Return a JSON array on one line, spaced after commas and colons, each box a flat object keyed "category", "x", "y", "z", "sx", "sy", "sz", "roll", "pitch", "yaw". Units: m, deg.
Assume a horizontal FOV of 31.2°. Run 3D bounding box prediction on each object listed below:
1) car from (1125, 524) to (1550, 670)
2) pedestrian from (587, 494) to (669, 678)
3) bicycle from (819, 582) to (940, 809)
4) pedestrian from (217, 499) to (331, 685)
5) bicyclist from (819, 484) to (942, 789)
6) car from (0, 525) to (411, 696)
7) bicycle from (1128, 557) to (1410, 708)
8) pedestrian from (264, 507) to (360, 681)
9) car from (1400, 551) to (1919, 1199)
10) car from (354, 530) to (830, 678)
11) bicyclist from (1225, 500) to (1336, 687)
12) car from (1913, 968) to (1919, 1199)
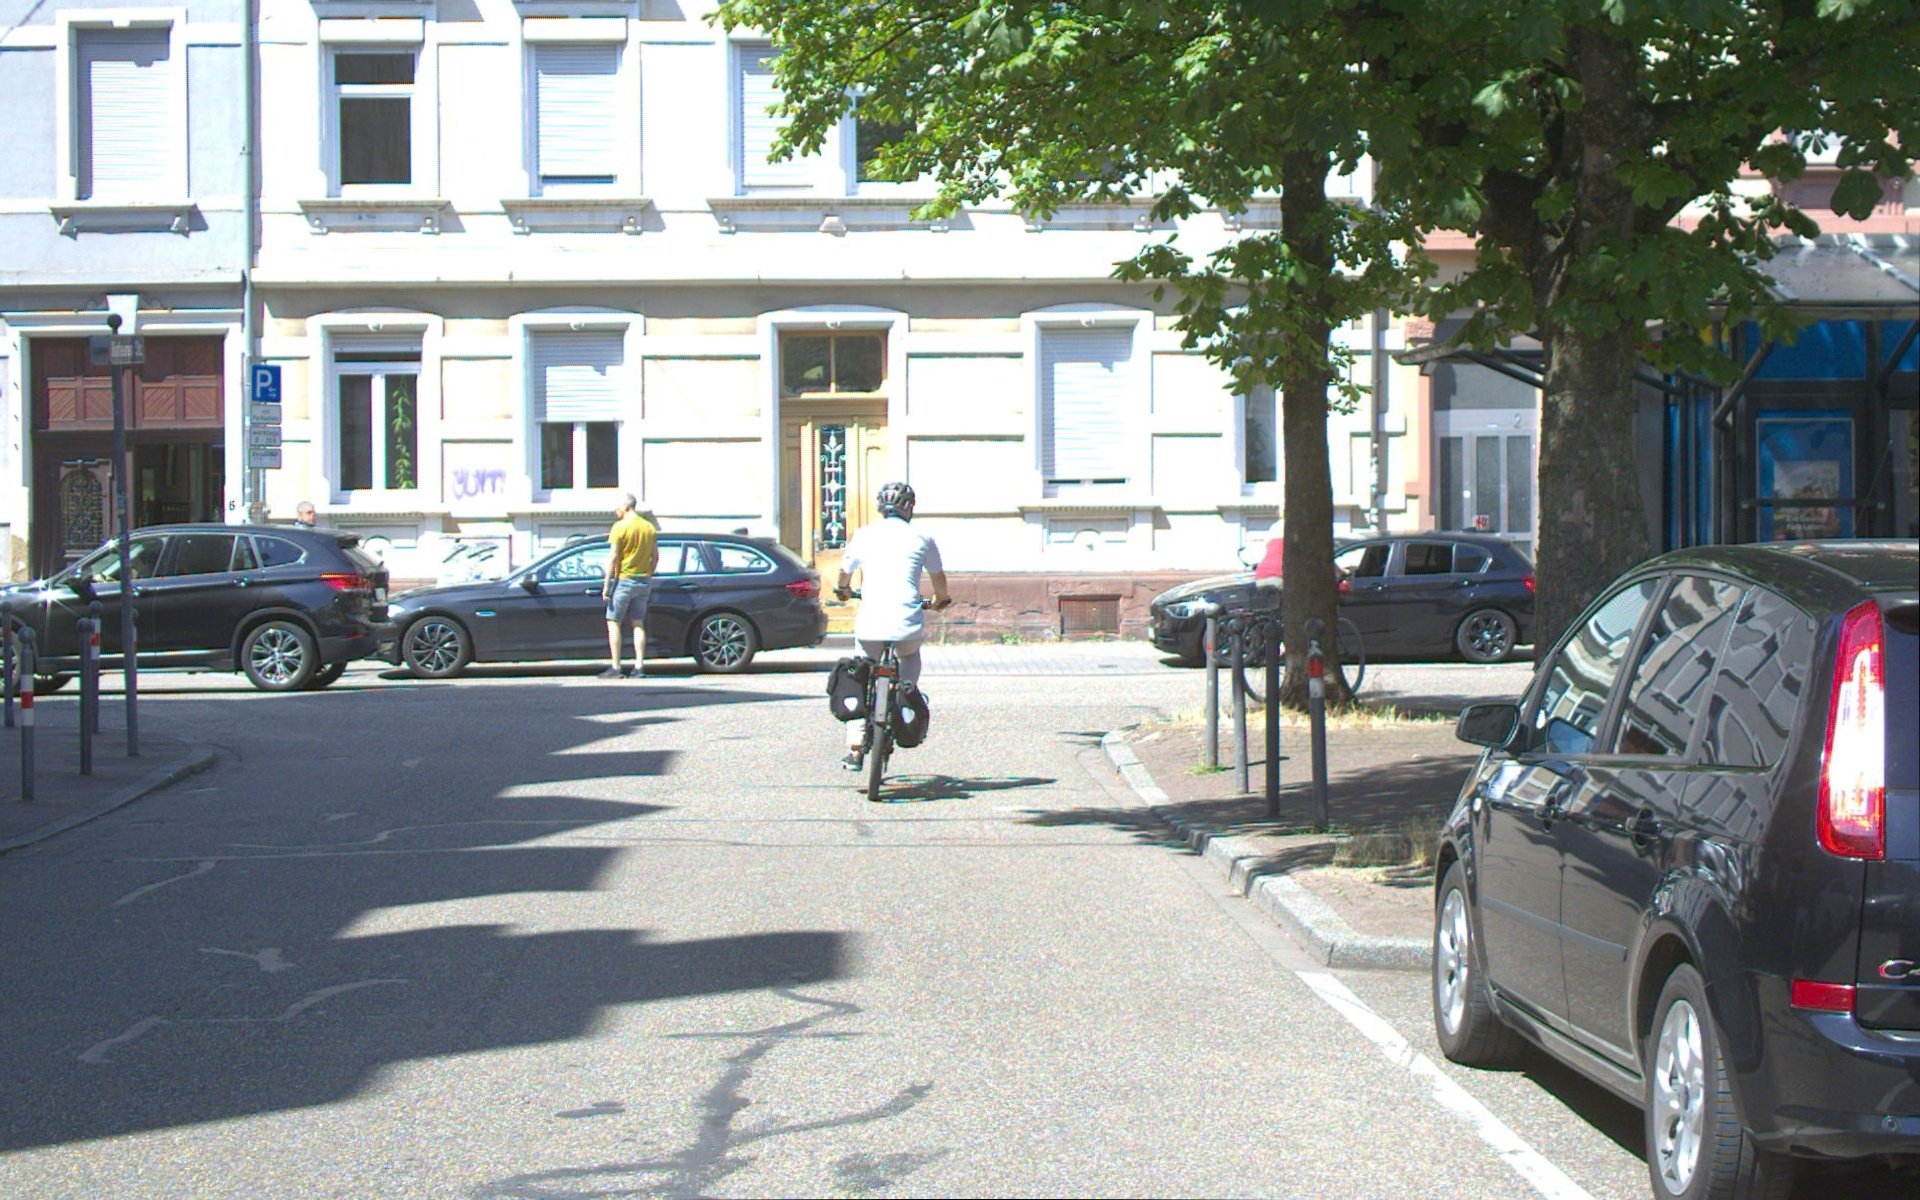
[{"category": "car", "x": 3.995, "y": -0.052, "z": 36.804, "sx": 4.294, "sy": 1.365, "sz": 1.807, "roll": -1, "pitch": 3, "yaw": -2}, {"category": "pedestrian", "x": -3.391, "y": -0.148, "z": 35.085, "sx": 0.724, "sy": 1.847, "sz": 0.685, "roll": -1, "pitch": 1, "yaw": -11}, {"category": "bicycle", "x": -0.483, "y": 0.527, "z": 20.423, "sx": 0.652, "sy": 1.224, "sz": 2.442, "roll": 1, "pitch": 1, "yaw": -1}, {"category": "pedestrian", "x": -7.075, "y": -0.086, "z": 35.483, "sx": 0.850, "sy": 1.882, "sz": 0.935, "roll": -1, "pitch": 1, "yaw": 9}, {"category": "bicyclist", "x": -0.466, "y": 0.206, "z": 20.200, "sx": 0.670, "sy": 1.754, "sz": 0.609, "roll": 1, "pitch": 1, "yaw": -1}, {"category": "car", "x": -7.482, "y": 0.087, "z": 32.762, "sx": 4.223, "sy": 1.514, "sz": 1.807, "roll": -1, "pitch": 1, "yaw": -2}, {"category": "bicycle", "x": 2.585, "y": 0.263, "z": 28.582, "sx": 2.433, "sy": 1.205, "sz": 0.654, "roll": 0, "pitch": 1, "yaw": -33}, {"category": "pedestrian", "x": -6.893, "y": -0.074, "z": 36.609, "sx": 0.901, "sy": 1.808, "sz": 0.960, "roll": -1, "pitch": 1, "yaw": -7}, {"category": "car", "x": 2.350, "y": 0.668, "z": 9.115, "sx": 1.663, "sy": 1.535, "sz": 4.178, "roll": 2, "pitch": 1, "yaw": -2}, {"category": "car", "x": -3.818, "y": 0.023, "z": 36.414, "sx": 4.859, "sy": 1.432, "sz": 2.000, "roll": -1, "pitch": 1, "yaw": -2}, {"category": "bicyclist", "x": 2.663, "y": -0.063, "z": 28.626, "sx": 0.607, "sy": 1.528, "sz": 0.672, "roll": -2, "pitch": 1, "yaw": -34}, {"category": "car", "x": 2.568, "y": 0.705, "z": 3.446, "sx": 1.735, "sy": 1.591, "sz": 4.349, "roll": 1, "pitch": 1, "yaw": -4}]
